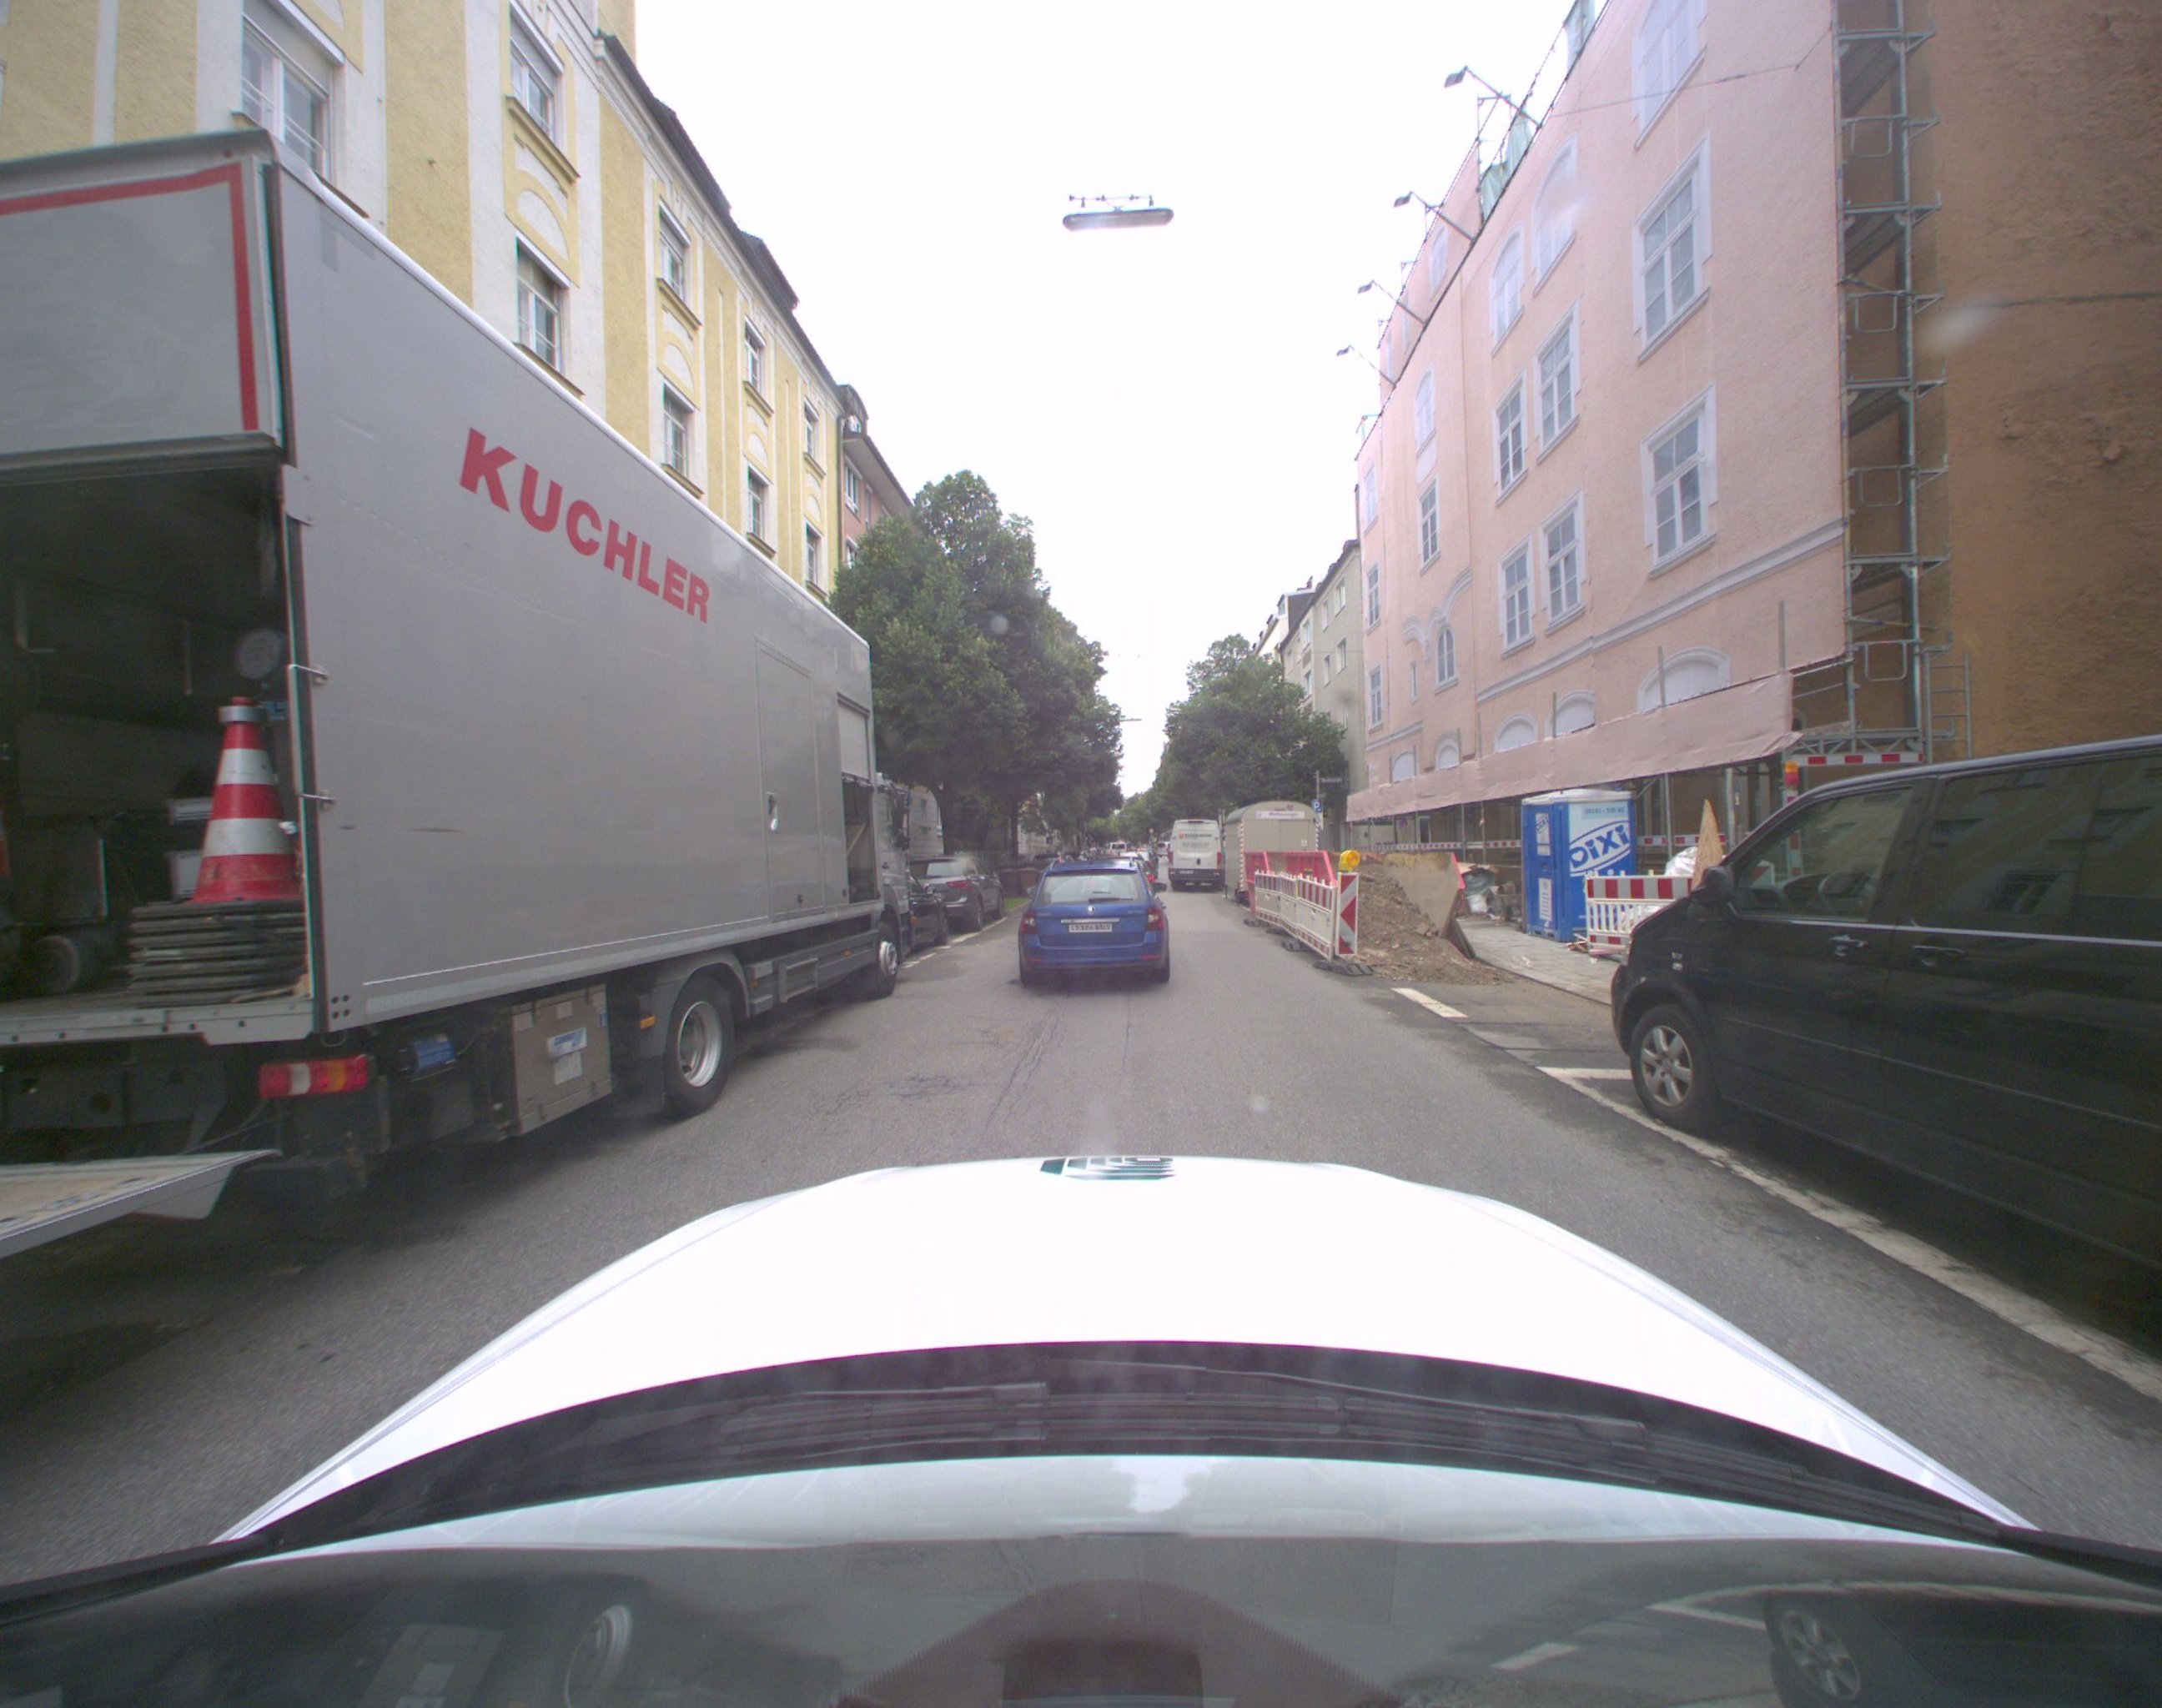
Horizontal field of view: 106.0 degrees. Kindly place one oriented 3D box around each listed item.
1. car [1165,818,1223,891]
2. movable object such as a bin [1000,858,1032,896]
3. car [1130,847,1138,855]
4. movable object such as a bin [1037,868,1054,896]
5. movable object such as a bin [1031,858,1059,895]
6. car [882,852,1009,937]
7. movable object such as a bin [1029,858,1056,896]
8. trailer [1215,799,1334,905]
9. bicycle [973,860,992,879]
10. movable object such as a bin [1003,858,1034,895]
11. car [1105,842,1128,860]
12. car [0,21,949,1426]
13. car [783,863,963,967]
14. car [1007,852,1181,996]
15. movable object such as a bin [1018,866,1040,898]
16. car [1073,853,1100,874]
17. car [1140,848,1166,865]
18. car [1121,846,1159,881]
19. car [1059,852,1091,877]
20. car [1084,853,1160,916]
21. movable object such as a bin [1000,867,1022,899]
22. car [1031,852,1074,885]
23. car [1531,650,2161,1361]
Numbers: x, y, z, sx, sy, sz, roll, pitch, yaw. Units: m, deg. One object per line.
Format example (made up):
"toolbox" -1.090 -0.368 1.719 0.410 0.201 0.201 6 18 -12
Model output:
"car" 4.573 0.022 32.458 2.100 2.664 5.514 0 0 10
"movable object such as a bin" -2.492 0.873 31.522 1.078 1.376 1.083 -3 0 -1
"car" 12.823 -0.672 196.075 1.859 1.739 4.351 -2 0 3
"movable object such as a bin" -1.340 1.051 30.693 0.545 1.020 0.636 -3 0 0
"movable object such as a bin" -1.435 0.896 32.654 1.017 1.376 1.103 -3 0 -1
"car" -2.891 0.797 18.286 1.777 1.628 4.190 -2 0 4
"movable object such as a bin" -1.495 0.884 31.557 0.915 1.376 1.079 -3 0 -1
"trailer" 5.744 -0.026 25.290 2.491 2.840 6.908 0 0 4
"bicycle" -5.777 0.899 47.986 0.632 1.067 2.390 -2 0 5
"movable object such as a bin" -2.491 0.896 32.624 1.054 1.376 1.095 -3 0 -1
"car" 3.757 -0.358 87.305 1.865 1.870 4.338 0 1 -6
"car" -3.487 -0.323 6.626 2.800 3.817 8.731 -2 0 3
"car" -3.248 0.891 13.485 1.691 1.409 3.714 -2 0 5
"car" 0.215 0.737 10.695 1.782 1.460 4.317 -2 0 2
"movable object such as a bin" -1.959 1.044 30.662 0.709 1.148 0.636 -3 0 0
"car" 0.419 0.684 62.121 1.804 1.478 4.004 -1 0 4
"car" 5.825 0.157 66.177 1.861 1.348 4.348 0 1 1
"car" 2.980 0.446 41.576 1.859 1.696 4.351 0 1 3
"car" -0.327 0.613 50.091 1.805 1.478 4.002 -1 0 2
"car" 1.119 0.701 20.587 1.732 1.422 3.670 0 0 6
"movable object such as a bin" -2.626 1.081 30.639 0.718 1.138 0.658 -3 0 0
"car" -1.332 0.674 39.385 1.805 1.478 4.002 -1 0 2
"car" 4.041 0.451 3.158 2.073 1.921 5.146 0 -2 5
